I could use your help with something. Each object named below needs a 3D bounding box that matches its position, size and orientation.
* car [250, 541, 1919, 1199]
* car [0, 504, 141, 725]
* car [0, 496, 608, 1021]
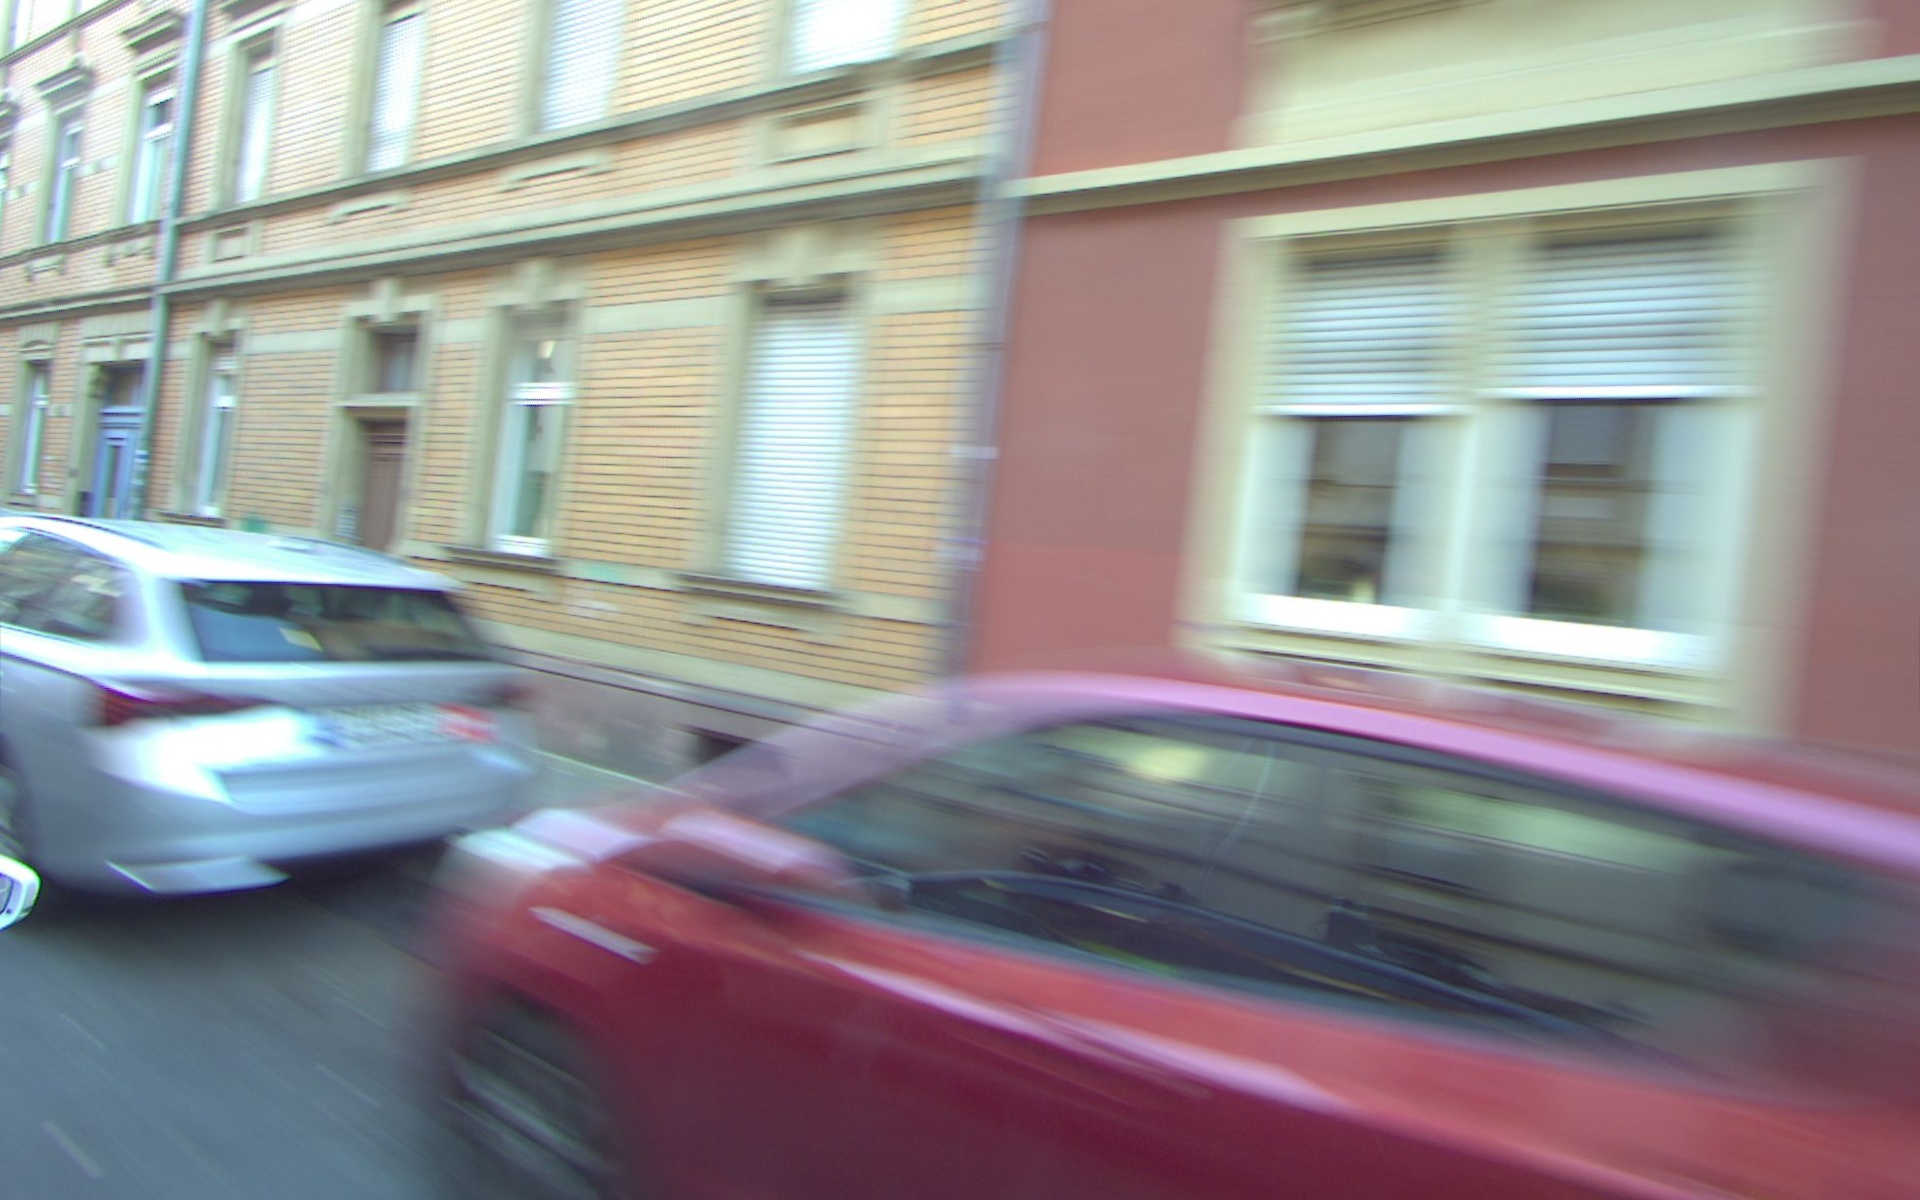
[{"bbox_3d":[0.398,0.858,2.272,3.956,1.498,1.661,7,0,30],"label":"car"},{"bbox_3d":[-8.085,-0.085,7.622,3.926,1.424,1.693,7,0,32],"label":"car"},{"bbox_3d":[-3.926,0.355,4.911,4.329,1.502,1.764,7,0,32],"label":"car"}]
